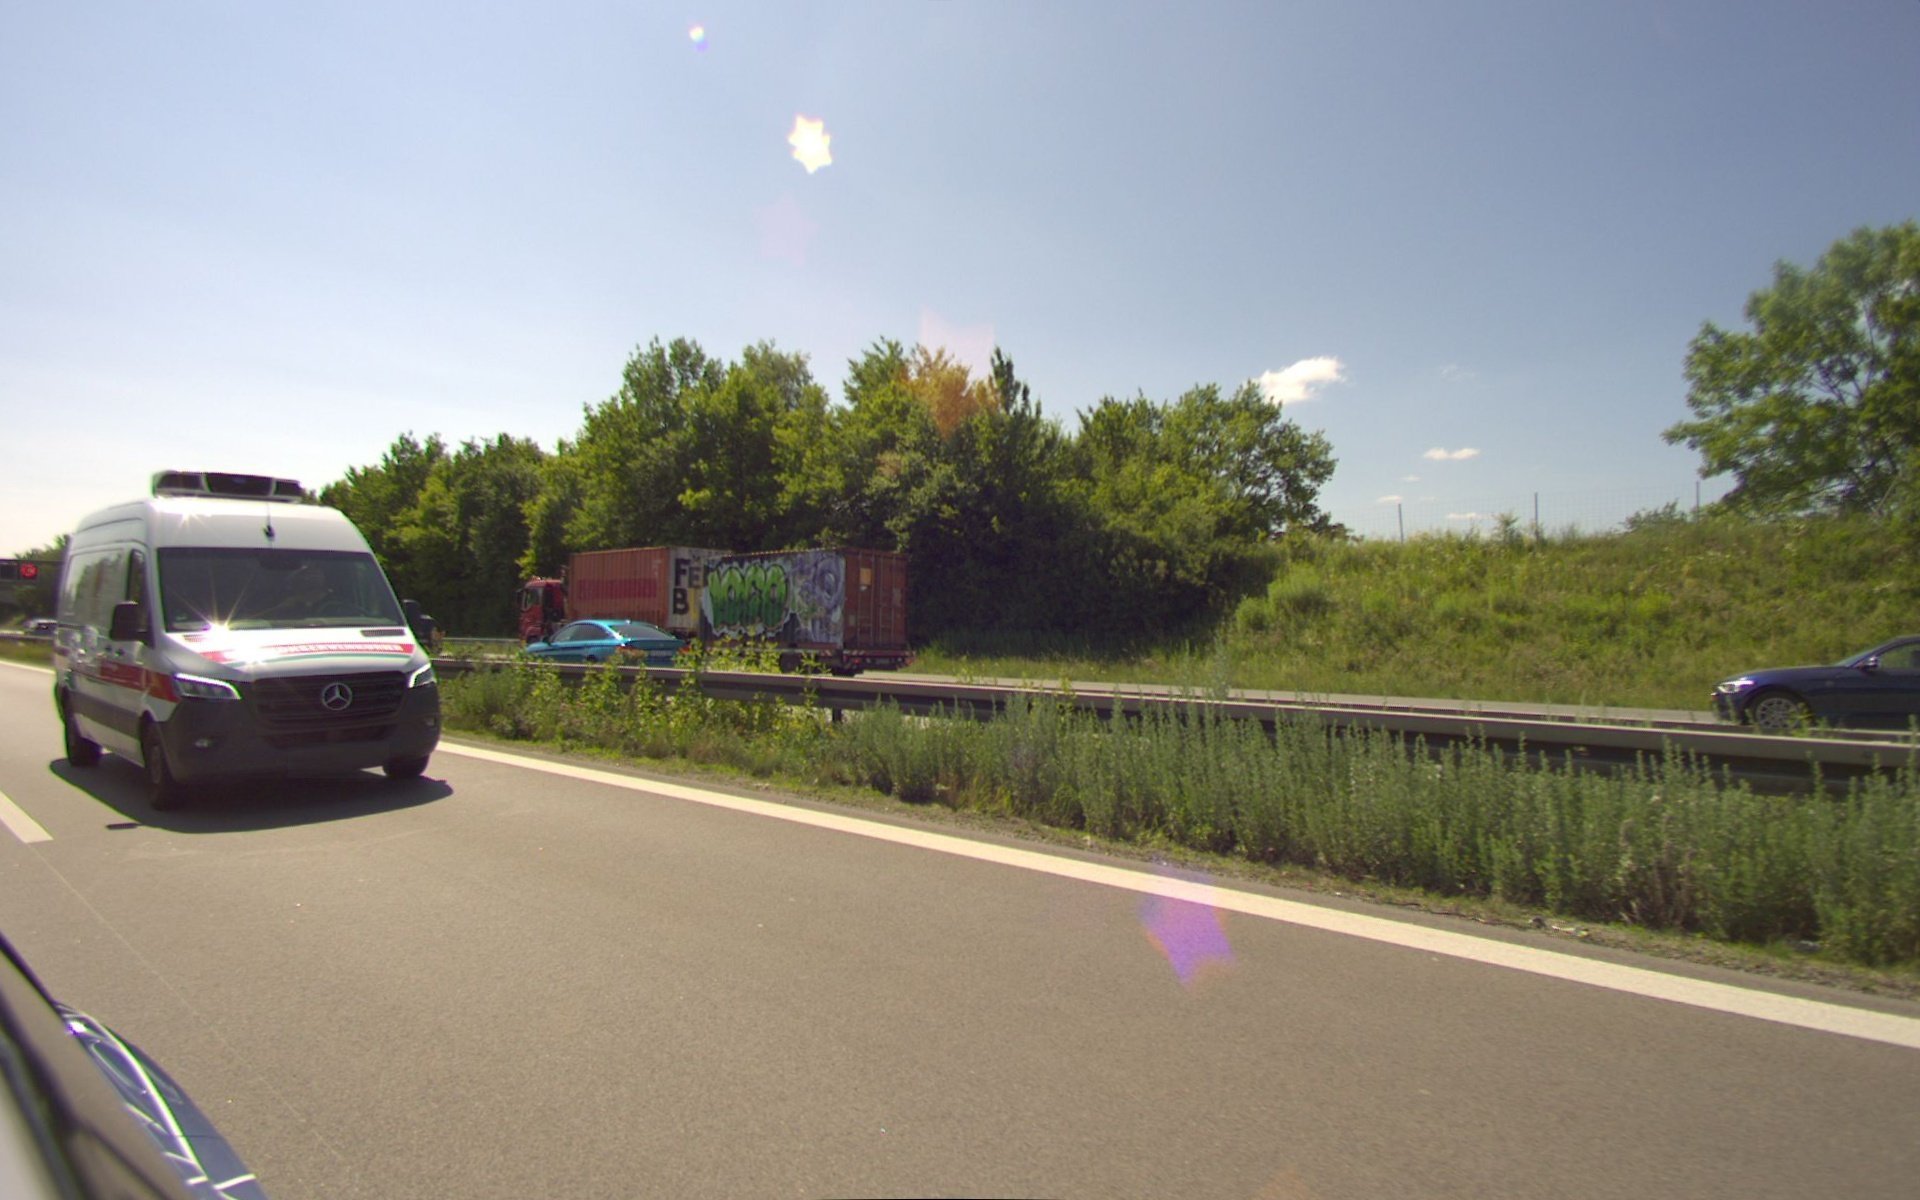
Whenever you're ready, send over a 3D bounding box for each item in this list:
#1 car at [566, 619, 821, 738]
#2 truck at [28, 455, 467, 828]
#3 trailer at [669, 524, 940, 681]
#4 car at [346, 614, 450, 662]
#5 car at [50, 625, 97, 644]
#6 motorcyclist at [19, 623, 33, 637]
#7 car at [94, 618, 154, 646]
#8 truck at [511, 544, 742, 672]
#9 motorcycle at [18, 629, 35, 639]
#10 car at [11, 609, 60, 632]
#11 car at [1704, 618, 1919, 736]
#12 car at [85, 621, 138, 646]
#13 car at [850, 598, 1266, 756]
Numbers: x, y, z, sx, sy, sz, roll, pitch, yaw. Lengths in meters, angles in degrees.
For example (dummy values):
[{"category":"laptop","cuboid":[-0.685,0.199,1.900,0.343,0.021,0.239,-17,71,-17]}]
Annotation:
[{"category":"car","cuboid":[-4.910,1.295,18.273,4.893,1.880,1.974,-1,-2,39]},{"category":"truck","cuboid":[-7.297,0.328,9.915,6.688,2.561,1.973,-1,0,41]},{"category":"trailer","cuboid":[-4.555,0.173,28.258,8.401,3.798,2.651,-1,-3,41]},{"category":"car","cuboid":[-20.981,1.394,37.748,4.261,1.703,1.974,-1,-2,39]},{"category":"car","cuboid":[-70.626,2.720,80.571,5.618,1.486,1.973,-1,-2,40]},{"category":"motorcyclist","cuboid":[-97.197,3.141,105.321,1.355,1.455,0.931,-1,-2,39]},{"category":"car","cuboid":[-41.968,1.581,50.787,4.118,1.327,1.650,-1,-2,41]},{"category":"truck","cuboid":[-11.526,0.372,34.257,9.912,3.798,2.651,-1,-3,41]},{"category":"motorcycle","cuboid":[-97.219,3.493,105.363,2.652,1.025,0.926,-1,-2,39]},{"category":"car","cuboid":[-60.768,1.353,66.508,4.344,1.494,1.933,-1,-2,42]},{"category":"car","cuboid":[12.630,0.993,12.922,4.920,1.449,1.876,-1,-4,40]},{"category":"car","cuboid":[-56.912,2.208,67.850,4.571,1.642,1.973,-1,-2,40]},{"category":"car","cuboid":[1.004,0.823,12.399,4.954,1.577,1.814,-1,-2,41]}]
